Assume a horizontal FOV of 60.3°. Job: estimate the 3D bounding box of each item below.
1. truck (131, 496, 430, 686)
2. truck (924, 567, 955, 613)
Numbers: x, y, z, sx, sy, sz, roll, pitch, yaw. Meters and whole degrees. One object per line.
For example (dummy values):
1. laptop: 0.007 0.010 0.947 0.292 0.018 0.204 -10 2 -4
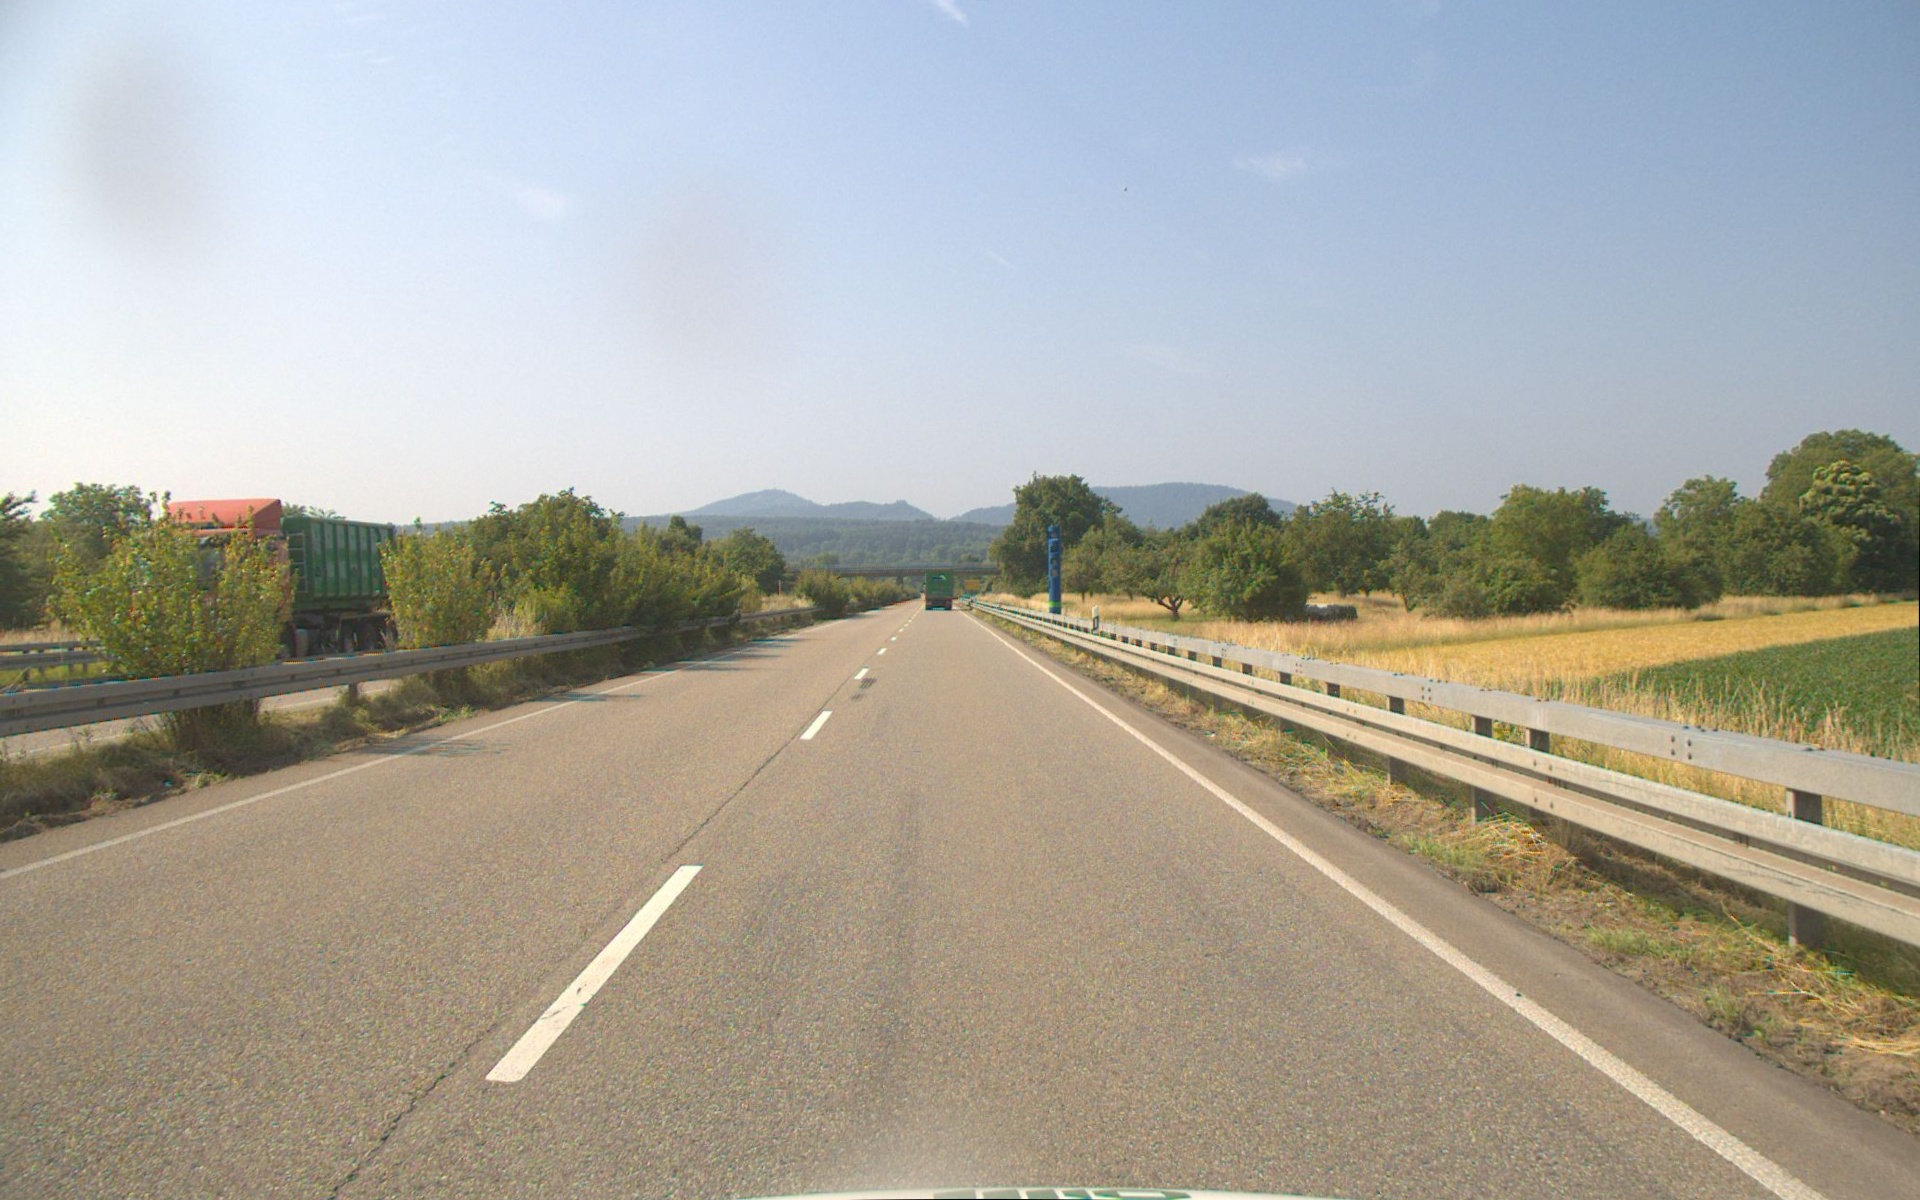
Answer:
1. truck: -14.746 -0.177 37.027 2.550 3.651 10.383 -1 0 -1
2. truck: -1.854 -1.031 153.062 2.667 4.034 10.415 1 1 -1
